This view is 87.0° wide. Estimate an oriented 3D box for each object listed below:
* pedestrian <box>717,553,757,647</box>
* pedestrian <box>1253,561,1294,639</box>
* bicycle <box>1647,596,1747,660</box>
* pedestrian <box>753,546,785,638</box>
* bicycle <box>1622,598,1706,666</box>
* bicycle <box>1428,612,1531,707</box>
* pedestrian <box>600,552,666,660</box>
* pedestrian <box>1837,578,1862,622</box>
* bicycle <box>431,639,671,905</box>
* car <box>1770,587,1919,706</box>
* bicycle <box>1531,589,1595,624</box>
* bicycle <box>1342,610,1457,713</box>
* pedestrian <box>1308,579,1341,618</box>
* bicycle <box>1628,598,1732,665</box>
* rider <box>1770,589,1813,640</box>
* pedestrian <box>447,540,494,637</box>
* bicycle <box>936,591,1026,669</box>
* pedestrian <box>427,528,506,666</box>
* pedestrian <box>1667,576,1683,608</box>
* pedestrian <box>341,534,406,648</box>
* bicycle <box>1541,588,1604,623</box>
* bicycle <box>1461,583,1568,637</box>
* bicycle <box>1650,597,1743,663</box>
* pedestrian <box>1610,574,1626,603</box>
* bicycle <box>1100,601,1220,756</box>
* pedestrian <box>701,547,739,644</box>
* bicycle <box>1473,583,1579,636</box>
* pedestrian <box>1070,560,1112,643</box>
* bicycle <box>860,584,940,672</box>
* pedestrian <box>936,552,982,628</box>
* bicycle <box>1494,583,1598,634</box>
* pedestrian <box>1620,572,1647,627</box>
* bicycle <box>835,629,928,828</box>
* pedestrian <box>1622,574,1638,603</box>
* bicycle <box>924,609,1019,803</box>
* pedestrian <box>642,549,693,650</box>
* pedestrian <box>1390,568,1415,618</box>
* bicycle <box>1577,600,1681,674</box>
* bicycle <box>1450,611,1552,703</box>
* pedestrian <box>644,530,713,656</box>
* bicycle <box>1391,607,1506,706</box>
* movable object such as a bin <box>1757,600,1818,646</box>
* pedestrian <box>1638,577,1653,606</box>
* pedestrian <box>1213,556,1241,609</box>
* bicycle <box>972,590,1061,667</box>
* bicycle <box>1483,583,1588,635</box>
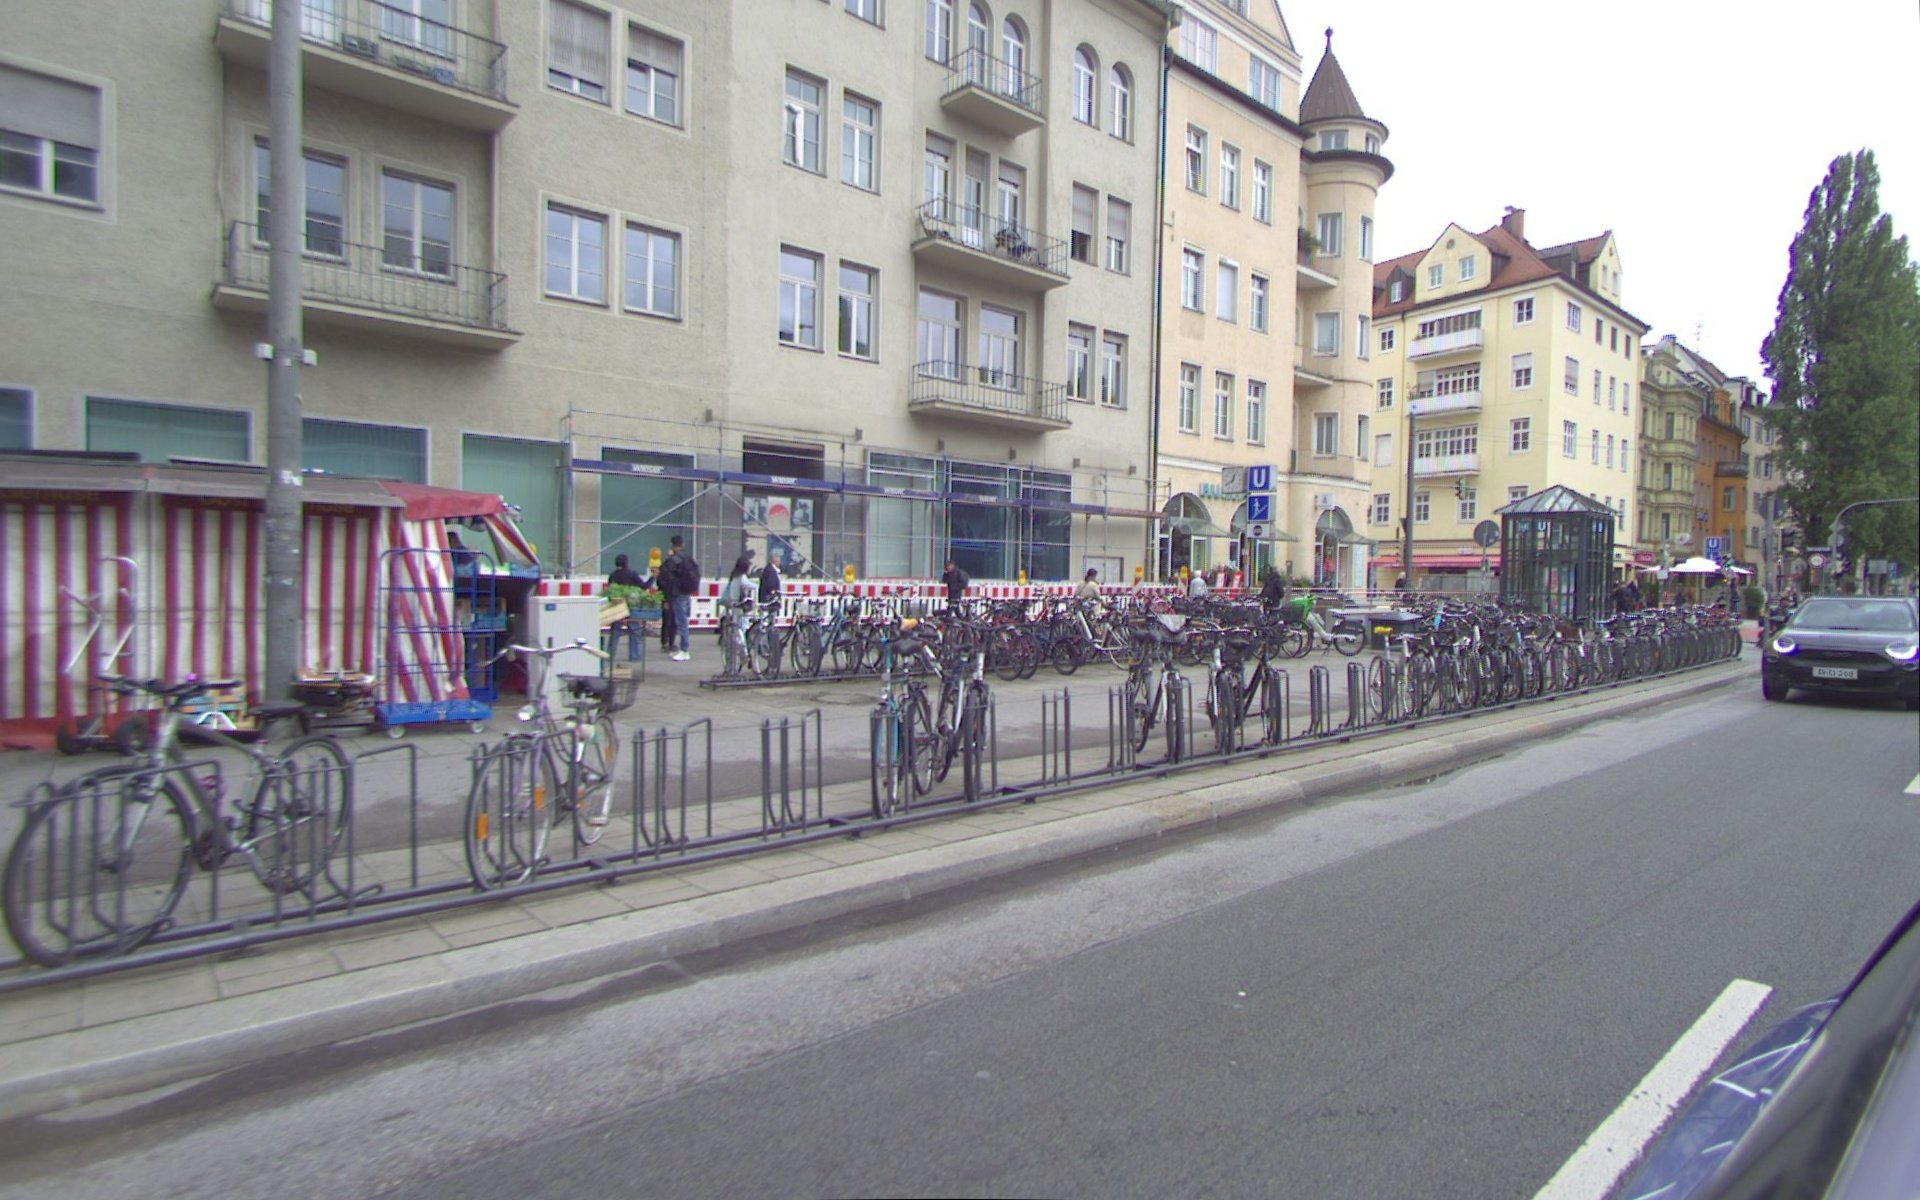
[{"bbox_3d":[-3.818,-0.007,17.321,0.458,1.559,0.560,-1,1,-40],"label":"pedestrian"},{"bbox_3d":[7.125,-0.016,23.037,0.728,1.729,0.703,2,1,9],"label":"pedestrian"},{"bbox_3d":[14.248,0.518,19.627,0.468,1.151,1.788,0,1,-7],"label":"bicycle"},{"bbox_3d":[-3.565,-0.149,18.923,0.495,1.695,0.541,0,0,-3],"label":"pedestrian"},{"bbox_3d":[12.737,0.553,18.346,0.341,1.151,1.527,0,1,-5],"label":"bicycle"},{"bbox_3d":[6.289,0.697,12.344,0.390,1.073,1.849,0,-2,4],"label":"bicycle"},{"bbox_3d":[-4.832,0.074,14.944,0.716,1.547,0.678,0,2,-39],"label":"pedestrian"},{"bbox_3d":[38.296,-0.001,43.560,0.729,1.823,0.701,2,4,40],"label":"pedestrian"},{"bbox_3d":[-1.930,0.735,5.048,0.536,1.068,1.802,0,-2,-3],"label":"bicycle"},{"bbox_3d":[13.249,0.576,14.705,3.982,1.488,1.738,0,1,-43],"label":"car"},{"bbox_3d":[21.219,0.207,35.646,0.597,1.141,1.828,2,1,-28],"label":"bicycle"},{"bbox_3d":[4.714,0.644,10.978,0.379,1.024,1.802,0,-2,-2],"label":"bicycle"},{"bbox_3d":[12.361,-0.069,34.328,0.903,1.260,0.700,-2,3,-42],"label":"pedestrian"},{"bbox_3d":[13.120,0.547,18.505,0.468,1.151,1.681,0,1,-11],"label":"bicycle"},{"bbox_3d":[21.793,0.362,26.525,0.721,1.256,0.731,-1,4,-44],"label":"rider"},{"bbox_3d":[-8.321,-0.205,17.203,0.598,1.623,0.465,0,2,-44],"label":"pedestrian"},{"bbox_3d":[0.314,0.437,15.696,1.447,1.091,0.404,4,3,41],"label":"bicycle"},{"bbox_3d":[-6.331,-0.054,12.972,0.717,1.694,0.795,0,2,-41],"label":"pedestrian"},{"bbox_3d":[38.978,-0.421,55.186,0.575,1.705,0.552,0,2,-40],"label":"pedestrian"},{"bbox_3d":[-8.834,-0.143,15.242,0.751,1.671,0.602,0,2,-39],"label":"pedestrian"},{"bbox_3d":[21.757,0.197,35.997,0.597,1.141,1.828,2,1,-28],"label":"bicycle"},{"bbox_3d":[14.096,0.225,25.798,0.617,1.242,2.318,0,2,-38],"label":"bicycle"},{"bbox_3d":[13.790,0.533,19.007,0.469,1.151,1.679,0,1,-2],"label":"bicycle"},{"bbox_3d":[35.158,-0.606,54.059,0.575,1.545,0.528,0,2,-40],"label":"pedestrian"},{"bbox_3d":[1.580,0.596,8.258,0.536,1.119,1.802,0,-2,-2],"label":"bicycle"},{"bbox_3d":[-4.237,-0.084,17.871,0.464,1.694,0.526,-1,1,-40],"label":"pedestrian"},{"bbox_3d":[14.600,0.215,26.166,0.617,1.242,2.318,0,2,-38],"label":"bicycle"},{"bbox_3d":[2.605,0.025,20.100,0.655,1.602,0.532,2,1,25],"label":"pedestrian"},{"bbox_3d":[-0.880,0.371,14.472,0.402,1.116,1.636,0,3,-32],"label":"bicycle"},{"bbox_3d":[-0.023,-0.235,22.582,0.819,1.652,0.564,0,2,-38],"label":"pedestrian"},{"bbox_3d":[15.635,0.191,27.044,0.617,1.242,2.318,0,2,-38],"label":"bicycle"},{"bbox_3d":[22.274,-0.014,33.476,0.634,1.799,0.605,1,1,26],"label":"pedestrian"},{"bbox_3d":[-0.451,0.718,6.360,0.360,1.068,1.799,0,-2,3],"label":"bicycle"},{"bbox_3d":[35.552,-0.602,53.718,0.575,1.545,0.528,0,2,-40],"label":"pedestrian"},{"bbox_3d":[0.035,0.641,6.764,0.536,1.119,1.802,0,-2,-2],"label":"bicycle"},{"bbox_3d":[-4.690,-0.021,16.236,0.544,1.584,0.652,0,2,-42],"label":"pedestrian"},{"bbox_3d":[15.620,-0.253,35.715,0.579,1.721,0.567,-1,3,-31],"label":"pedestrian"},{"bbox_3d":[11.172,0.589,16.975,0.480,1.151,1.797,0,1,-3],"label":"bicycle"},{"bbox_3d":[6.797,0.700,12.806,0.390,1.073,1.849,0,-2,4],"label":"bicycle"},{"bbox_3d":[-4.285,-0.117,15.419,0.713,1.851,0.720,2,2,35],"label":"pedestrian"},{"bbox_3d":[5.708,0.645,11.930,0.390,1.073,1.802,0,-2,-2],"label":"bicycle"},{"bbox_3d":[21.724,0.589,26.573,0.735,1.075,1.088,-1,4,-43],"label":"movable object such as a bin"},{"bbox_3d":[40.307,-0.488,59.515,0.575,1.705,0.552,0,2,-40],"label":"pedestrian"},{"bbox_3d":[7.917,-0.523,29.970,0.580,1.560,0.565,-2,3,-42],"label":"pedestrian"},{"bbox_3d":[0.876,0.428,15.992,1.447,1.091,0.404,4,3,41],"label":"bicycle"},{"bbox_3d":[15.092,0.203,26.593,0.617,1.242,2.318,0,2,-38],"label":"bicycle"}]
